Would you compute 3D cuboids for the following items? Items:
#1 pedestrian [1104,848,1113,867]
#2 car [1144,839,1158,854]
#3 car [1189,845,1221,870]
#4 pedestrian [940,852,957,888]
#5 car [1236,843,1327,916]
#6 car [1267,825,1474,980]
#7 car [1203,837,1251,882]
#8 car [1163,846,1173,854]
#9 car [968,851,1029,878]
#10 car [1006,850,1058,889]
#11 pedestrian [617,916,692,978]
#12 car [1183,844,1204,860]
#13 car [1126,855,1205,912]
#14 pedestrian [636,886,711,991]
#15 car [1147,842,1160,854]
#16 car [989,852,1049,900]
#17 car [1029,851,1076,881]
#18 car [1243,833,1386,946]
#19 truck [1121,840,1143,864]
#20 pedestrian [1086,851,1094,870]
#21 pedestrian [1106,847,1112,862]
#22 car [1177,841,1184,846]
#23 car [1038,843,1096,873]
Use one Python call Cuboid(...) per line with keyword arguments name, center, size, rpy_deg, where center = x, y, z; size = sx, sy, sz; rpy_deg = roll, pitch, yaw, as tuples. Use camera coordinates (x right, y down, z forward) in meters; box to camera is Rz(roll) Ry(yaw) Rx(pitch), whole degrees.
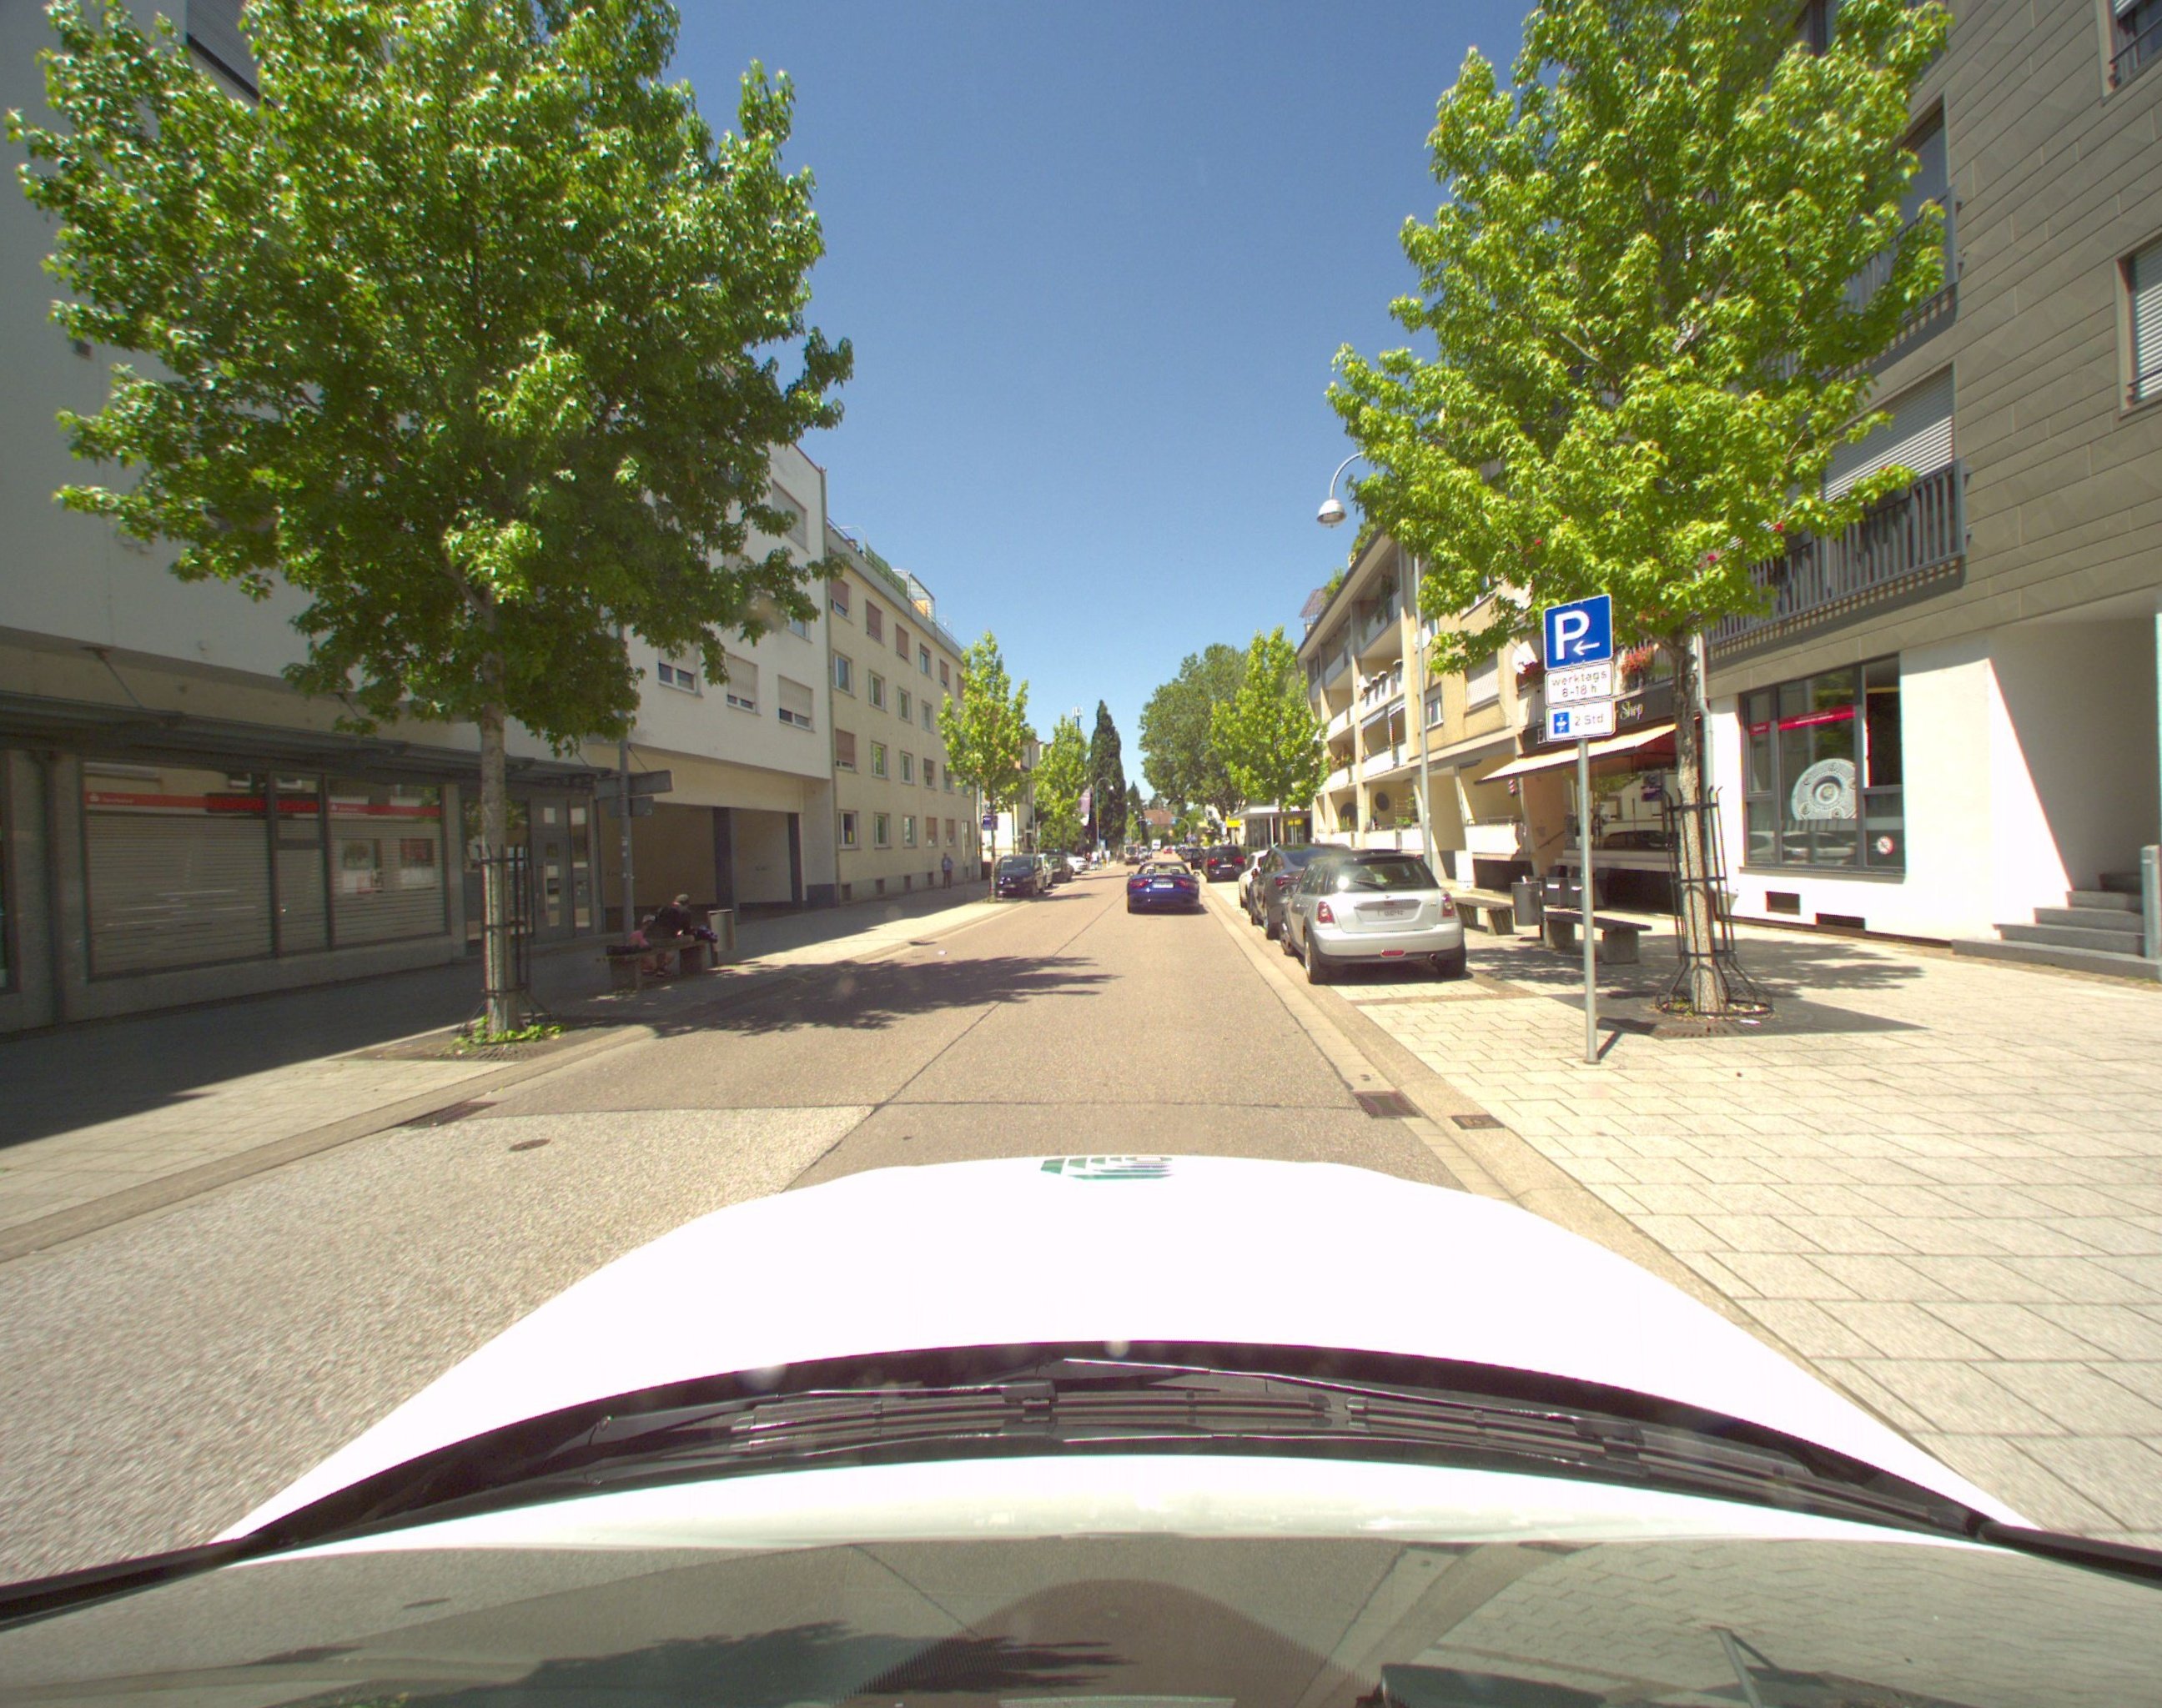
Cuboid(name="pedestrian", center=(2.850, 0.389, 84.452), size=(0.845, 1.915, 0.763), rpy_deg=(-4, 2, 6))
Cuboid(name="car", center=(9.188, -1.030, 106.853), size=(1.761, 1.767, 4.143), rpy_deg=(-4, 1, 5))
Cuboid(name="car", center=(7.920, 0.216, 52.339), size=(1.835, 1.414, 4.170), rpy_deg=(-4, 0, 6))
Cuboid(name="pedestrian", center=(-6.349, 0.755, 39.059), size=(0.656, 1.680, 0.629), rpy_deg=(-4, 2, -12))
Cuboid(name="car", center=(4.979, 0.565, 20.729), size=(1.713, 1.583, 4.234), rpy_deg=(-4, 0, 8))
Cuboid(name="car", center=(3.489, 0.505, 10.517), size=(1.614, 1.559, 3.847), rpy_deg=(-3, 0, 6))
Cuboid(name="car", center=(6.884, 0.193, 38.727), size=(1.982, 1.798, 4.580), rpy_deg=(-4, 2, 8))
Cuboid(name="car", center=(17.306, -0.748, 162.246), size=(1.761, 1.476, 4.144), rpy_deg=(-2, 0, 6))
Cuboid(name="car", center=(-5.830, 0.744, 57.714), size=(4.041, 1.823, 1.762), rpy_deg=(-1, 0, 4))
Cuboid(name="car", center=(-2.231, 0.698, 38.255), size=(1.815, 1.619, 4.399), rpy_deg=(-1, 1, 5))
Cuboid(name="pedestrian", center=(-6.369, 1.374, 12.173), size=(0.660, 0.858, 0.735), rpy_deg=(-3, -4, 15))
Cuboid(name="car", center=(11.729, -0.243, 85.343), size=(1.966, 1.450, 4.357), rpy_deg=(-4, 1, 6))
Cuboid(name="car", center=(2.317, 0.740, 22.562), size=(1.966, 1.398, 4.634), rpy_deg=(0, 0, 5))
Cuboid(name="pedestrian", center=(-5.649, 1.156, 11.317), size=(0.563, 1.372, 0.669), rpy_deg=(-3, -1, 15))
Cuboid(name="car", center=(10.561, -0.882, 118.112), size=(1.761, 1.476, 4.144), rpy_deg=(-4, 0, 6))
Cuboid(name="car", center=(-2.405, 0.812, 32.581), size=(1.721, 1.740, 4.399), rpy_deg=(0, 1, 5))
Cuboid(name="car", center=(-1.499, 0.605, 44.428), size=(1.744, 1.474, 4.332), rpy_deg=(-1, 1, 8))
Cuboid(name="car", center=(4.201, 0.549, 15.385), size=(1.755, 1.705, 4.714), rpy_deg=(-4, 0, 7))
Cuboid(name="truck", center=(5.115, -0.245, 80.993), size=(1.795, 2.117, 4.724), rpy_deg=(-4, 1, 6))
Cuboid(name="pedestrian", center=(0.745, 0.509, 65.373), size=(0.577, 1.474, 0.564), rpy_deg=(-2, 0, -1))
Cuboid(name="pedestrian", center=(2.898, 0.030, 84.465), size=(0.584, 1.574, 0.782), rpy_deg=(-2, 0, 5))
Cuboid(name="car", center=(29.252, -3.118, 239.490), size=(1.940, 1.476, 4.146), rpy_deg=(-4, 0, 7))
Cuboid(name="car", center=(-1.064, 0.327, 57.539), size=(1.919, 1.922, 4.859), rpy_deg=(-4, 0, -29))
